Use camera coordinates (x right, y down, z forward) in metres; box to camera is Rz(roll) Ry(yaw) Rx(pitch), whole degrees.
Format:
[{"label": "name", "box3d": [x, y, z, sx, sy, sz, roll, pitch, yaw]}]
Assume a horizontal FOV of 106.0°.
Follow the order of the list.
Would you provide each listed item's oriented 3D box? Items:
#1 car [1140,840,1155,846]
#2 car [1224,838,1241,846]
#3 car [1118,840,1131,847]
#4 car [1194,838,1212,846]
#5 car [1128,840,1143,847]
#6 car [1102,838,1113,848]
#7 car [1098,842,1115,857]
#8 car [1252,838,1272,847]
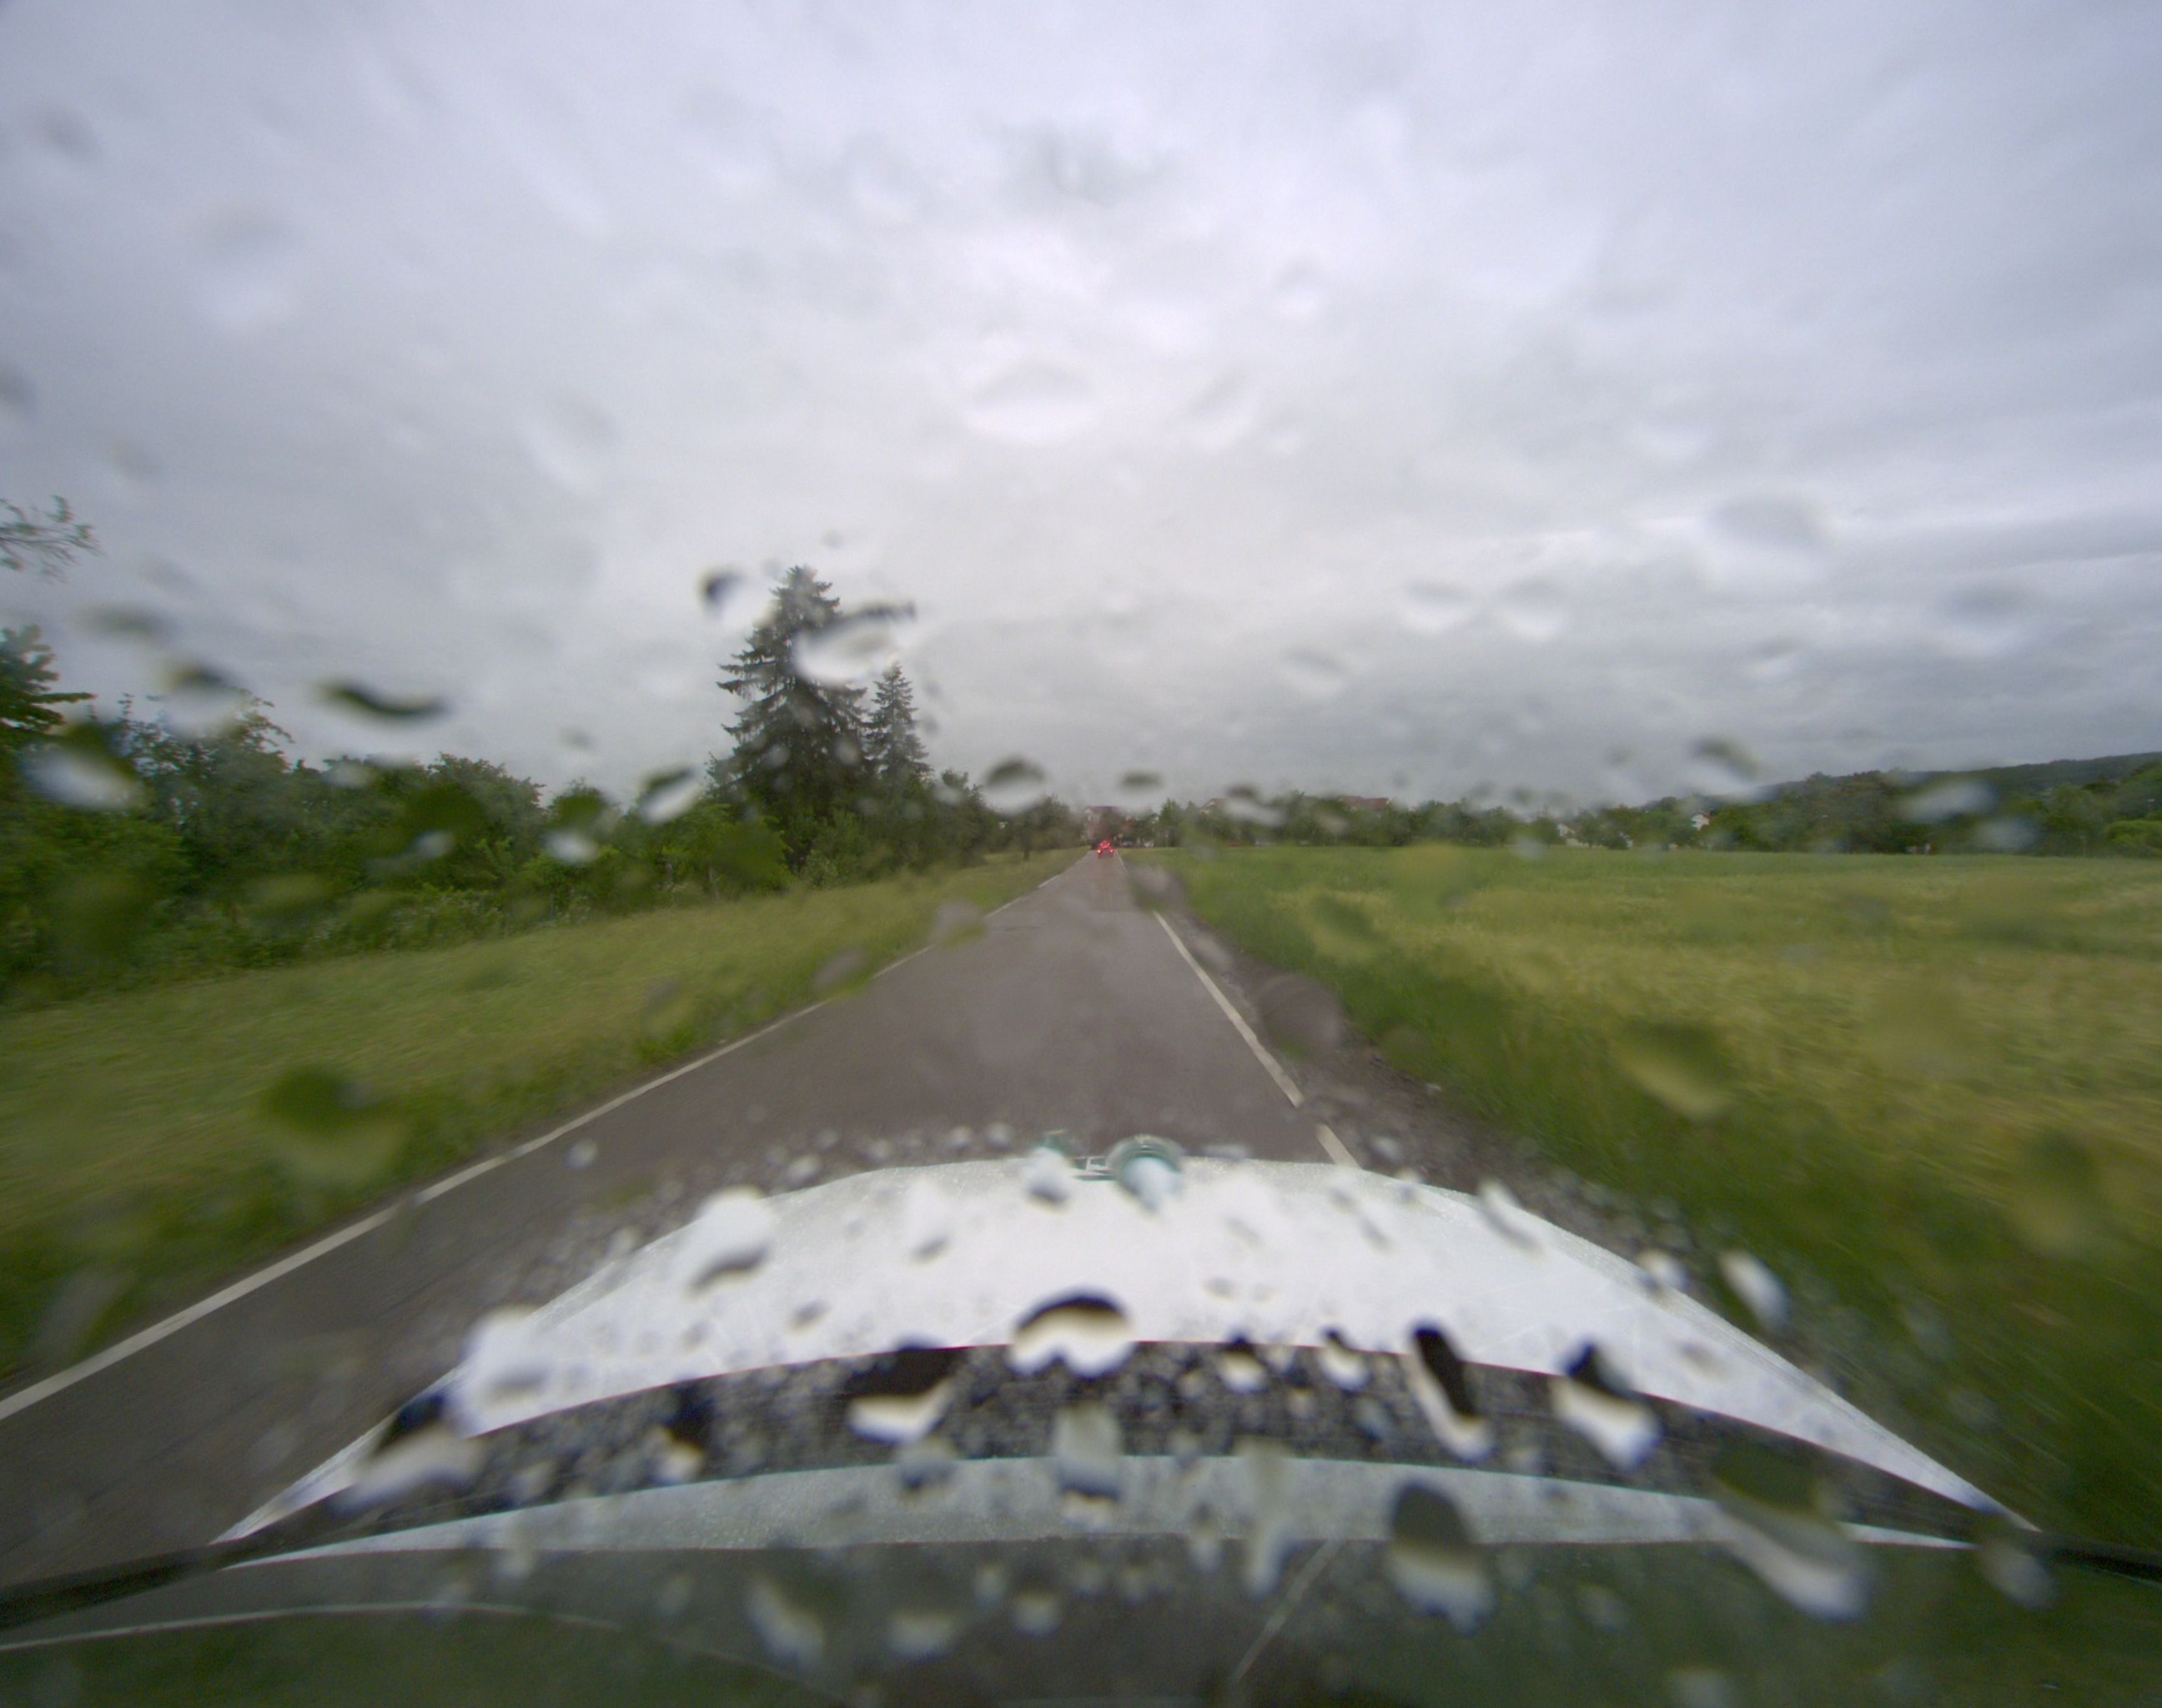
[{"label": "car", "box3d": [16.106, -2.670, 197.151, 1.645, 1.546, 4.025, -2, -1, 37]}, {"label": "car", "box3d": [29.268, -2.329, 157.342, 3.169, 1.370, 1.578, -1, -1, 15]}, {"label": "car", "box3d": [10.027, -2.457, 187.980, 1.645, 1.546, 4.024, -2, -1, 27]}, {"label": "car", "box3d": [23.747, -2.279, 158.702, 3.365, 1.370, 1.554, -1, -1, 15]}, {"label": "car", "box3d": [12.920, -2.557, 192.966, 1.645, 1.546, 4.025, -2, -1, 37]}, {"label": "car", "box3d": [4.869, -2.046, 149.779, 1.807, 1.594, 4.003, -1, -1, 3]}, {"label": "car", "box3d": [2.933, -0.484, 94.352, 1.807, 1.594, 4.003, -1, -1, 3]}, {"label": "car", "box3d": [34.630, -2.266, 155.655, 3.682, 1.564, 1.617, -1, -1, 15]}]
